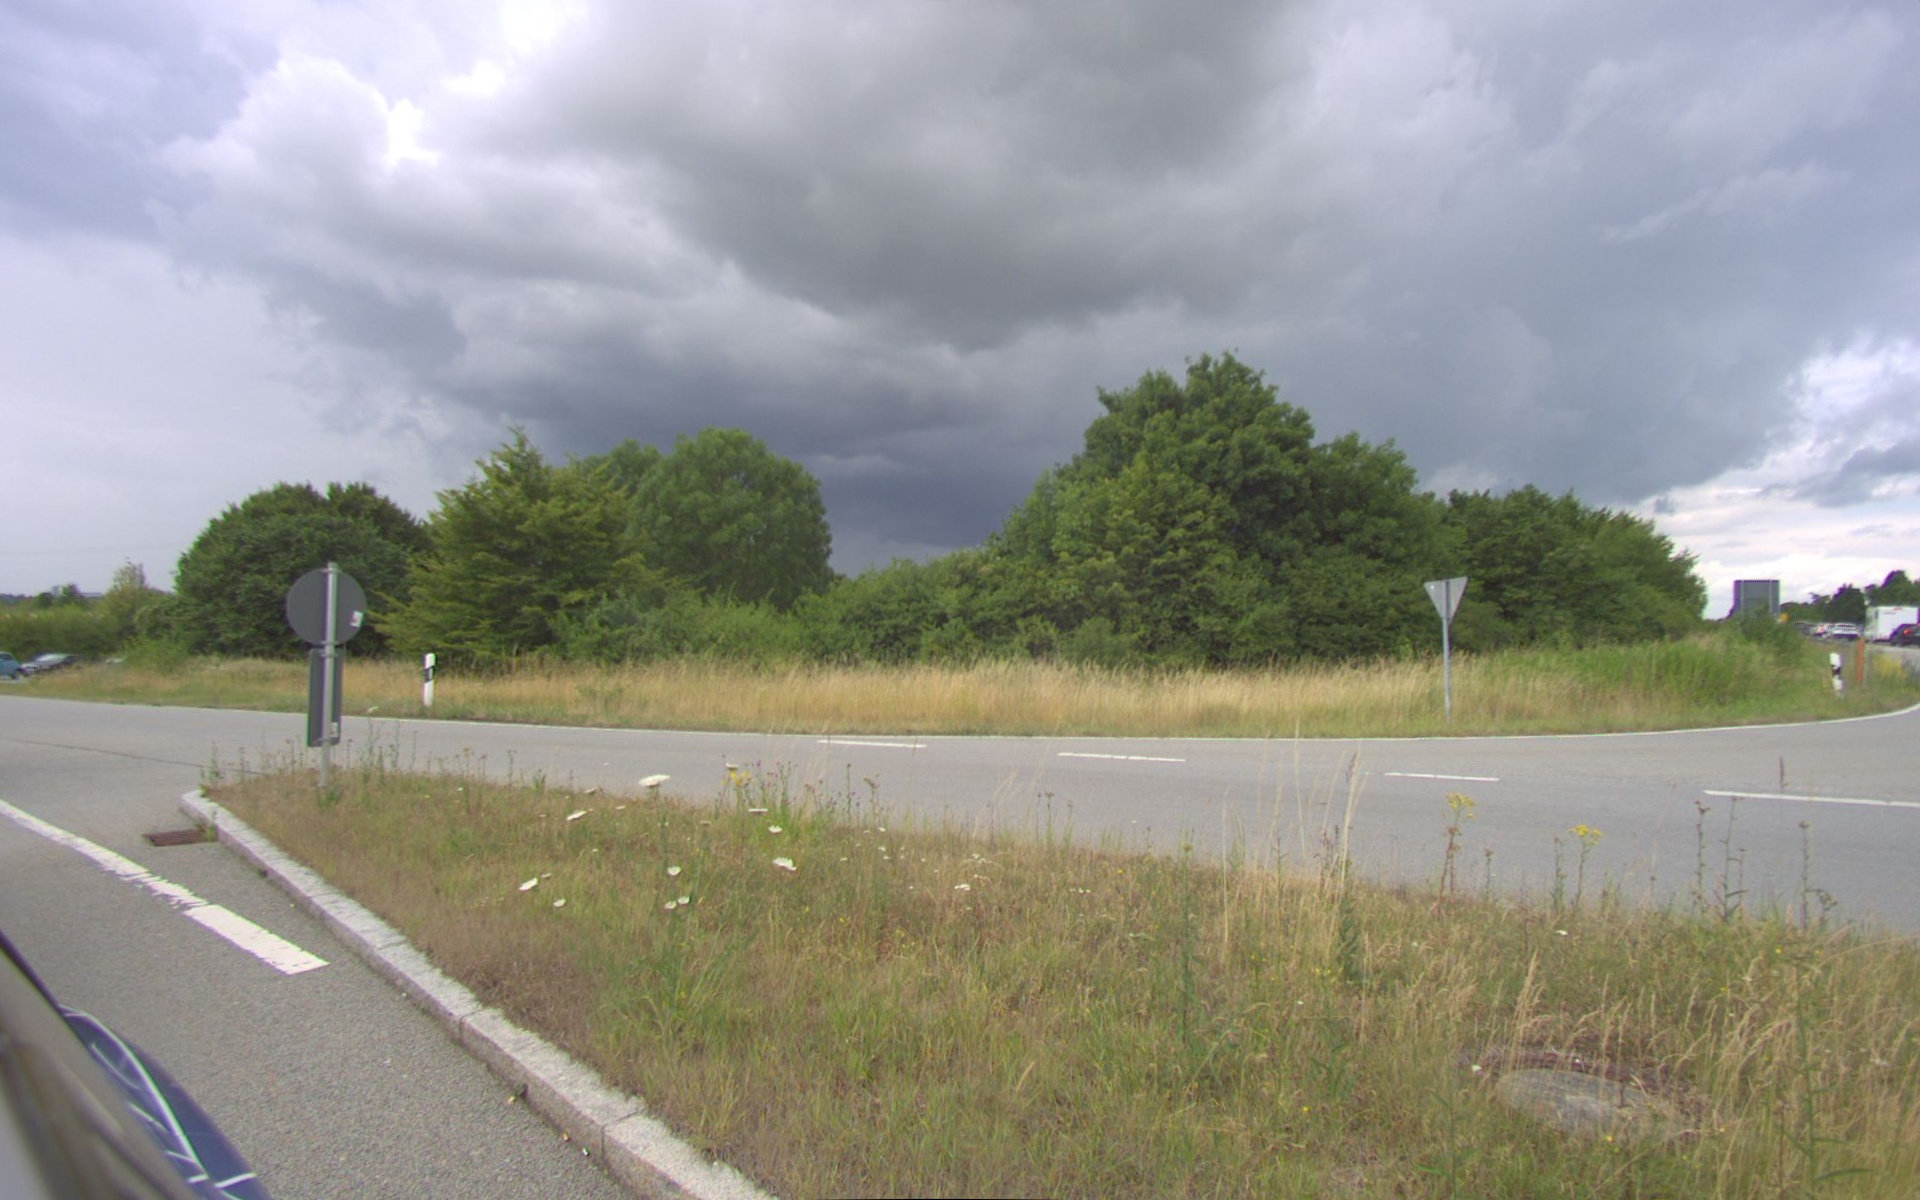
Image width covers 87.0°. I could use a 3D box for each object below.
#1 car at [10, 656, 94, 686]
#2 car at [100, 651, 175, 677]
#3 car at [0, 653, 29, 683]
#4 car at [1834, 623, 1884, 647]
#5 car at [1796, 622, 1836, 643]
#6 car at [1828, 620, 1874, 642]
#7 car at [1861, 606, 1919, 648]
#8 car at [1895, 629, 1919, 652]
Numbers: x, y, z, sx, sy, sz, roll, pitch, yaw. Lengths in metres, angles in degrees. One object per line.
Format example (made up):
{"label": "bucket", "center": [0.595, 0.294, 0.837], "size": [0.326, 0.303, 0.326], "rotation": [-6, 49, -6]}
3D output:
{"label": "car", "center": [-53.537, 4.172, 59.777], "size": [1.793, 1.544, 4.008], "rotation": [1, -2, -10]}
{"label": "car", "center": [-54.173, 4.192, 66.750], "size": [1.795, 1.544, 4.003], "rotation": [1, -2, -4]}
{"label": "car", "center": [-52.428, 3.651, 54.437], "size": [1.791, 1.544, 4.011], "rotation": [1, -2, -16]}
{"label": "car", "center": [75.504, 2.913, 85.058], "size": [2.334, 1.936, 4.821], "rotation": [0, -2, 33]}
{"label": "car", "center": [84.101, 3.186, 99.493], "size": [2.334, 1.936, 4.821], "rotation": [0, -2, 33]}
{"label": "car", "center": [79.777, 2.776, 90.680], "size": [2.333, 1.936, 4.822], "rotation": [0, -2, 32]}
{"label": "car", "center": [71.106, 2.077, 77.256], "size": [2.333, 3.052, 6.486], "rotation": [0, -2, 32]}
{"label": "car", "center": [66.013, 2.815, 69.609], "size": [1.843, 1.537, 3.954], "rotation": [-1, -2, 34]}
